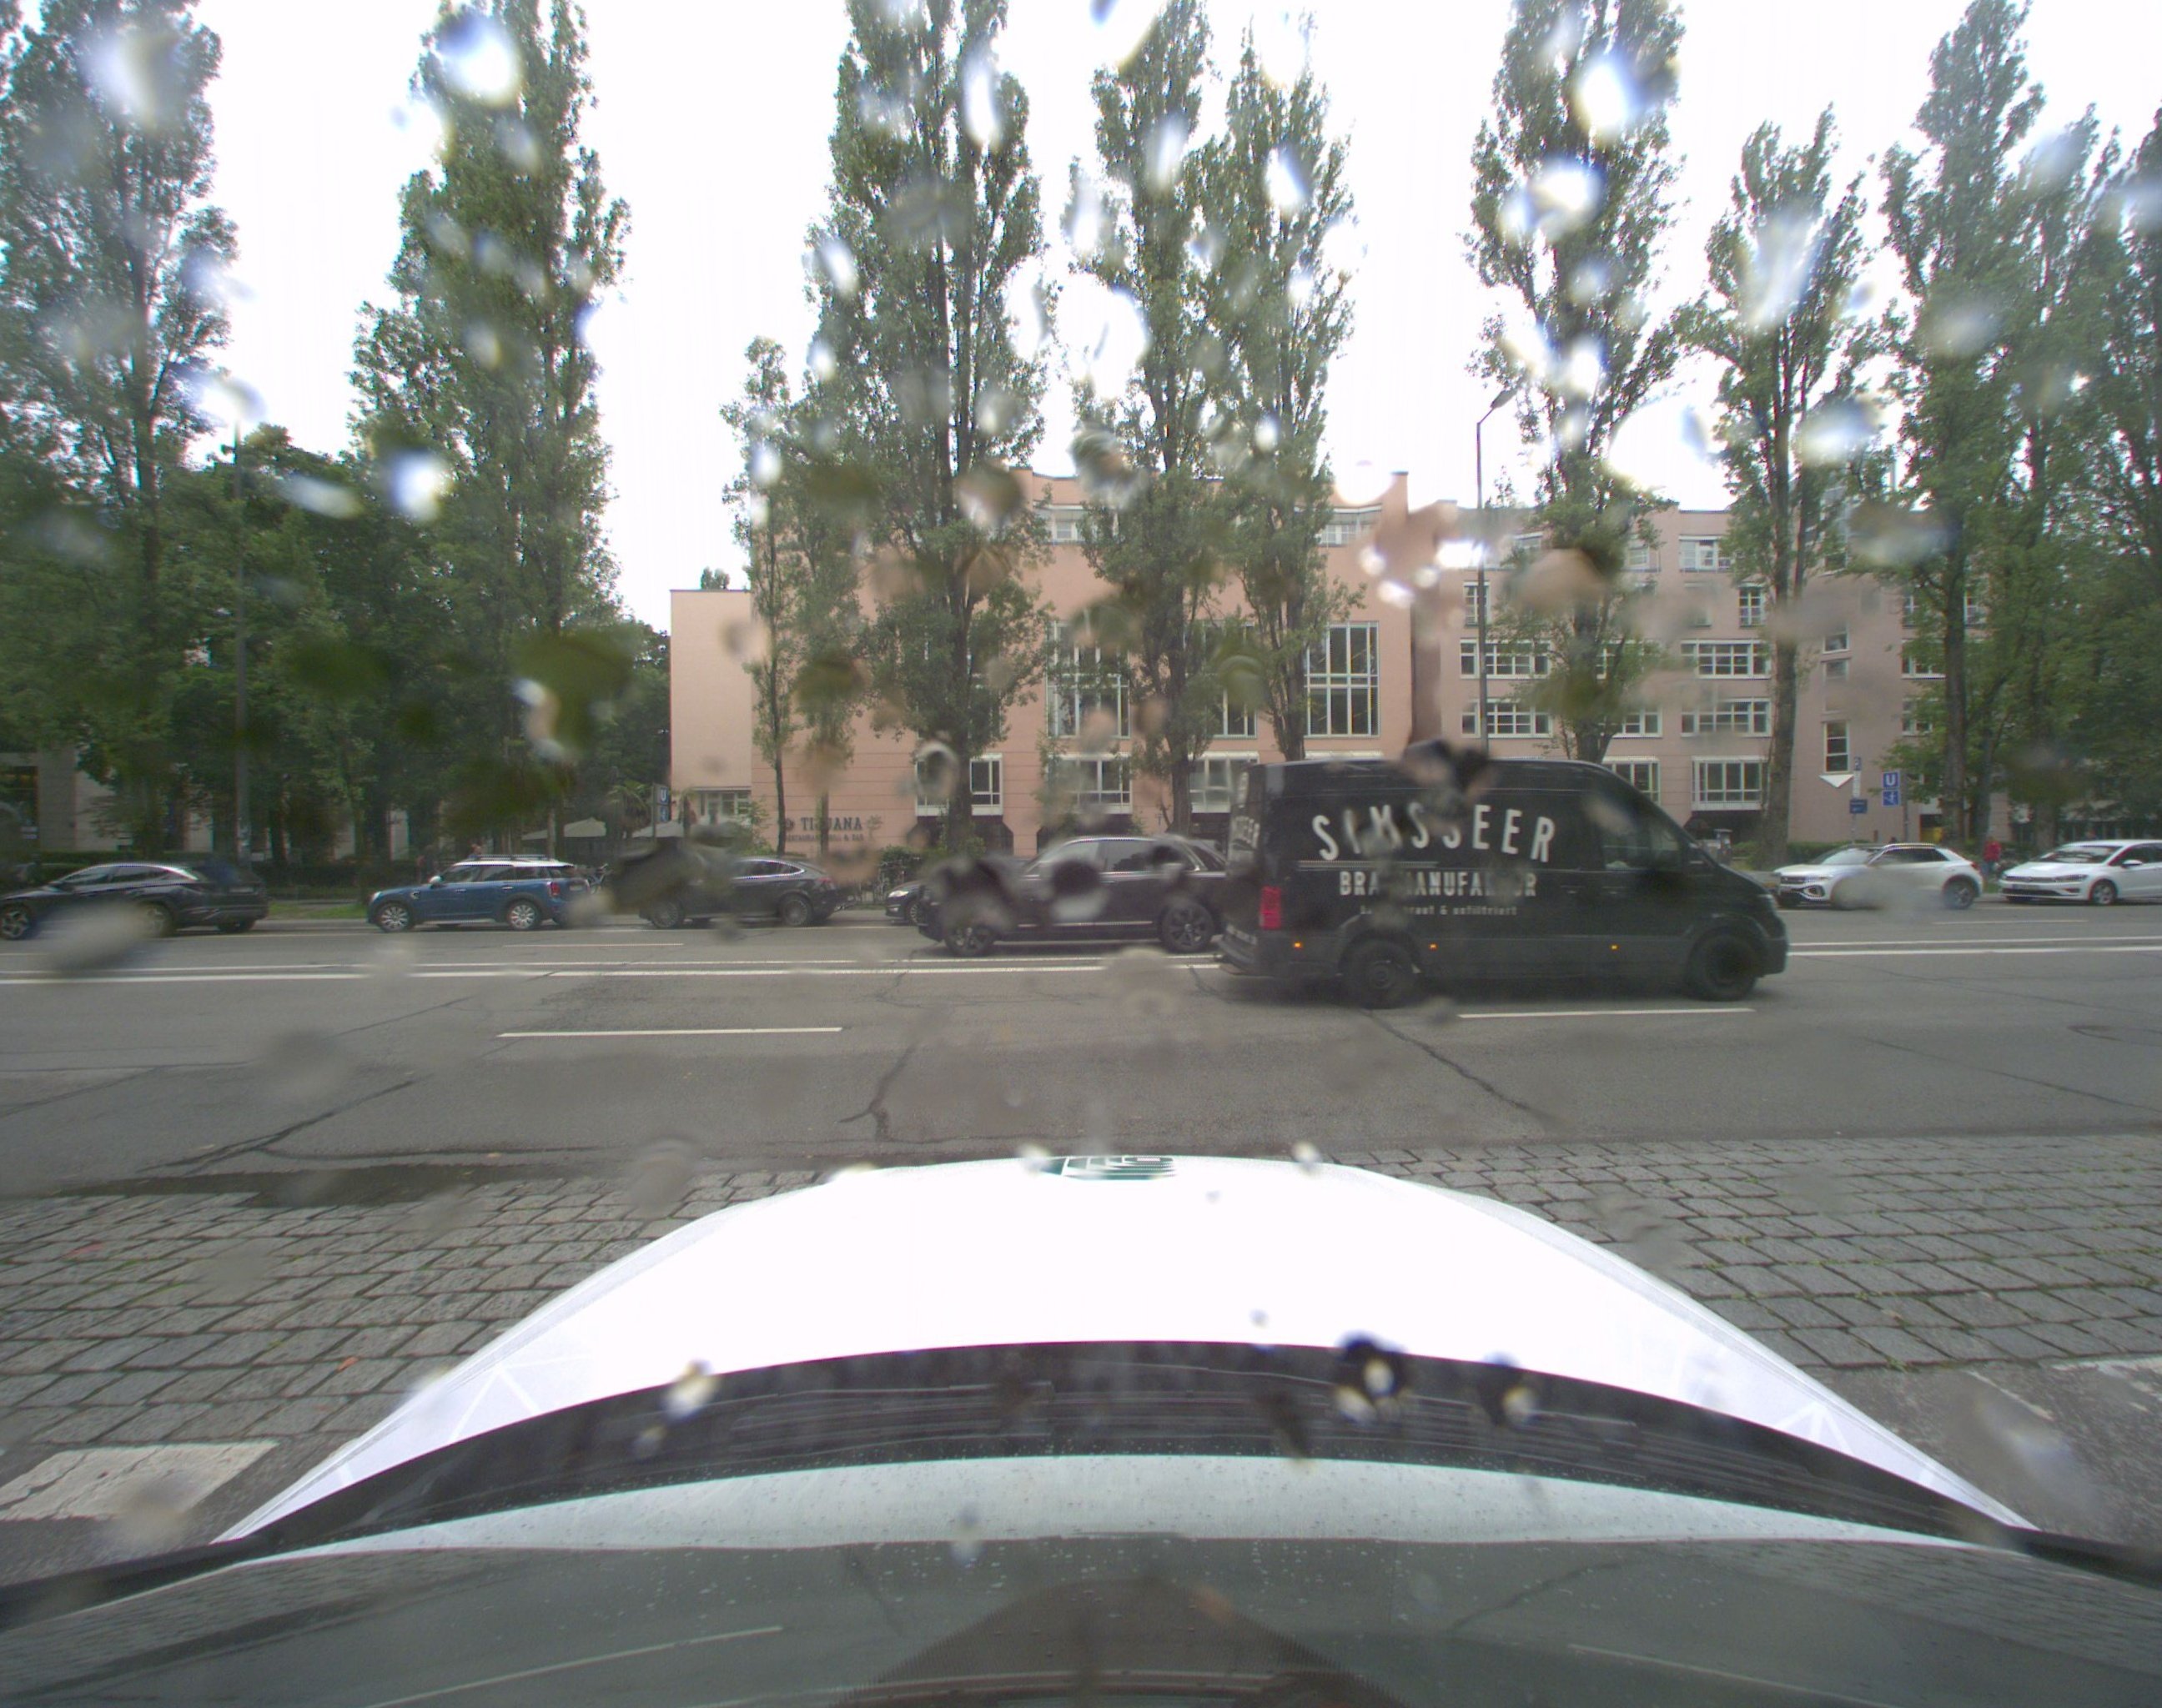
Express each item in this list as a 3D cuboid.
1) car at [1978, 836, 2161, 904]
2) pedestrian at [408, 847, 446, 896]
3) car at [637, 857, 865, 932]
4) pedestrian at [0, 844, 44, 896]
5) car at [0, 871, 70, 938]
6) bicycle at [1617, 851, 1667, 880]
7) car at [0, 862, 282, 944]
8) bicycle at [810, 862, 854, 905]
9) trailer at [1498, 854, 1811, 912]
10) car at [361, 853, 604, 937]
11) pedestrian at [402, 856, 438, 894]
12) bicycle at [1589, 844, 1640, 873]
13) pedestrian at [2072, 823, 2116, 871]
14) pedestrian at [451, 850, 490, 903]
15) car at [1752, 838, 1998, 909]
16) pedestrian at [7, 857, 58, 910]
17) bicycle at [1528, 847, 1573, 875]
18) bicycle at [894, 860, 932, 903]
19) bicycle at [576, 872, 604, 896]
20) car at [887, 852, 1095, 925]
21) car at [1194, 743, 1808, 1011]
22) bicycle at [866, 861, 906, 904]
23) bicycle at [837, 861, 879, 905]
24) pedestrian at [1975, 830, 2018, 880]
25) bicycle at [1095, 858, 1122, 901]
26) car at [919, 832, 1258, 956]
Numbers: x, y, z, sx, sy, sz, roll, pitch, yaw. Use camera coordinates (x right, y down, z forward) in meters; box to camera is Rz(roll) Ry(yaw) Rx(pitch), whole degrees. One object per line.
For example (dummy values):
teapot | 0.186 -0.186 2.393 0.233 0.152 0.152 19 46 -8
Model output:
car | 25.438 0.349 20.328 4.306 1.542 1.996 -1 1 -7
pedestrian | -23.226 0.613 28.930 0.727 1.713 0.709 -1 0 -1
car | -7.469 0.892 18.779 4.488 1.529 1.792 -1 1 -2
pedestrian | -35.475 0.531 27.194 0.727 1.713 0.709 -1 0 -1
car | -25.047 1.120 17.658 3.859 1.412 1.792 -1 0 -2
bicycle | 22.950 0.455 33.358 0.672 1.124 1.988 -1 1 -1
car | -20.632 1.020 17.889 4.212 1.600 1.792 -1 1 -2
bicycle | -7.070 0.819 23.218 0.672 1.124 1.988 -1 1 -1
trailer | 13.741 0.663 19.810 6.002 1.199 2.403 -1 1 -2
car | -13.400 0.889 18.438 4.057 1.732 1.791 -1 -1 -4
pedestrian | -24.216 0.760 29.856 0.705 1.355 0.731 -1 0 -1
bicycle | 21.924 0.161 33.498 0.672 1.124 2.106 -1 1 -1
pedestrian | 37.262 -0.259 29.969 0.727 1.713 0.709 -1 0 -1
pedestrian | -20.128 0.726 26.858 0.727 1.713 0.709 -1 0 -1
car | 19.119 0.468 19.739 4.207 1.542 1.806 -1 -1 -1
pedestrian | -34.142 0.948 26.528 0.727 1.713 0.709 -1 0 -1
bicycle | 19.327 0.276 33.573 0.672 1.124 1.988 -1 1 -1
bicycle | -4.785 0.766 23.328 0.672 1.124 1.988 -1 1 -1
bicycle | -17.839 1.081 29.613 0.322 0.798 1.030 -1 0 4
car | -2.013 0.766 19.056 4.596 1.529 1.792 -1 1 -2
car | 4.385 0.172 9.138 5.899 2.555 2.081 -1 2 -3
bicycle | -5.554 0.792 23.287 0.672 1.124 1.988 -1 1 -1
bicycle | -6.337 0.801 23.277 0.672 1.124 1.988 -1 1 -1
pedestrian | 32.085 0.026 28.547 0.727 1.713 0.709 -1 0 -1
bicycle | 0.779 0.713 23.507 0.672 1.124 1.741 -1 1 -1
car | 0.081 0.604 13.120 5.038 1.749 1.997 -1 -2 -5
